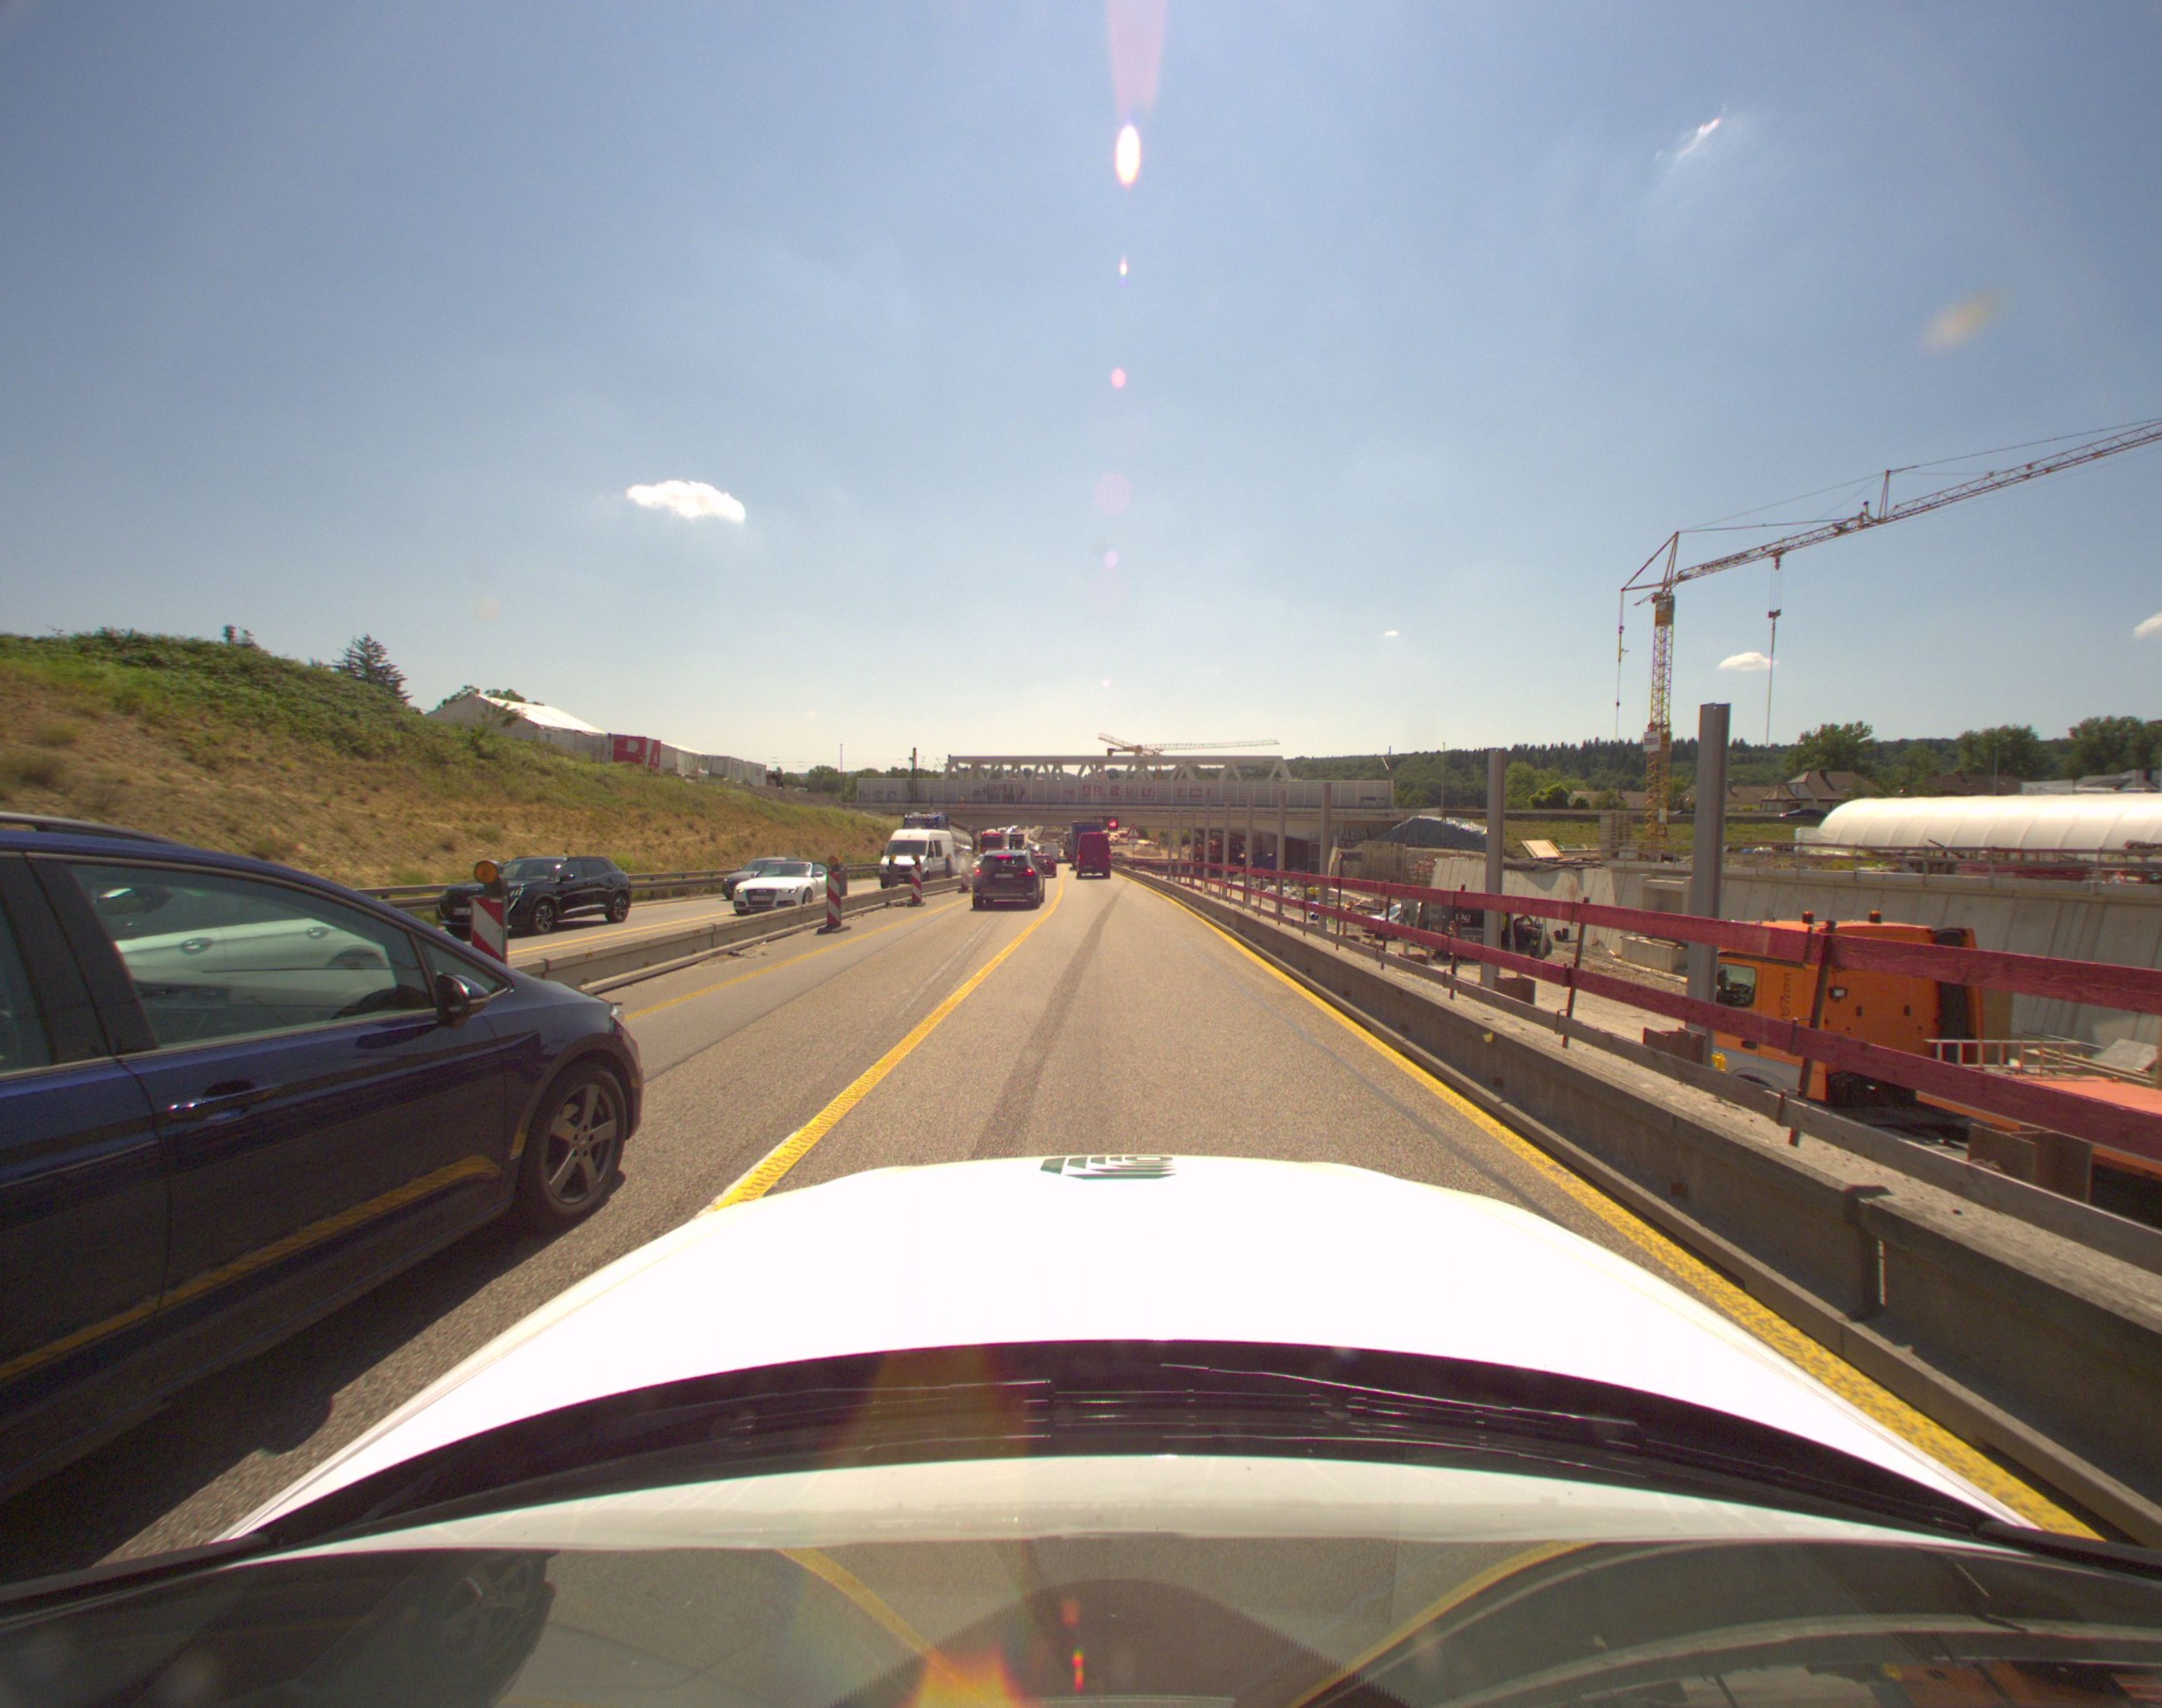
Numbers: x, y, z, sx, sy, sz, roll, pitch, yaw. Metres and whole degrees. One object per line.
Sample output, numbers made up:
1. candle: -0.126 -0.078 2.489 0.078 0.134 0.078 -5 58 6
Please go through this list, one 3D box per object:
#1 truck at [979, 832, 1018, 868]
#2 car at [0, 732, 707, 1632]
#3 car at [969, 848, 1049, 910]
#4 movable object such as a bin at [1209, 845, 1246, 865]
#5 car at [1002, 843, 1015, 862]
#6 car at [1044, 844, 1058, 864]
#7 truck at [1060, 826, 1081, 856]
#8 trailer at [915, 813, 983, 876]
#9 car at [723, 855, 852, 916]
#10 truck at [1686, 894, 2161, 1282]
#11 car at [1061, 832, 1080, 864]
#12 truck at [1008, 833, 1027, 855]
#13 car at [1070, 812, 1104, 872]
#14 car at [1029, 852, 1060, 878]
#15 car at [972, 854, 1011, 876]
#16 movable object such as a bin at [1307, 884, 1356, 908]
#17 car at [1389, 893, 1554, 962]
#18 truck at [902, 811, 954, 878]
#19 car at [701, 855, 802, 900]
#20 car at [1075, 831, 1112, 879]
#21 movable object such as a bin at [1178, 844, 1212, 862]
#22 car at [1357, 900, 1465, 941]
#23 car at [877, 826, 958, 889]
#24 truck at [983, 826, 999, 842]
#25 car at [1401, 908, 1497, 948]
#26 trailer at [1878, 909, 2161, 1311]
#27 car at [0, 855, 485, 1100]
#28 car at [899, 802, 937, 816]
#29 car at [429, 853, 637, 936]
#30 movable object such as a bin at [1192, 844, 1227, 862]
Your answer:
1. truck: -9.351 -0.505 93.912 2.824 3.852 12.917 0 0 2
2. car: -2.944 0.613 2.088 1.770 1.718 4.653 0 1 0
3. car: -1.991 0.639 23.792 1.873 1.618 4.500 -1 1 1
4. movable object such as a bin: 21.272 0.138 118.410 5.124 2.807 2.144 0 0 3
5. car: -10.484 -0.285 117.950 1.576 2.654 5.386 0 0 -2
6. car: -3.728 -0.032 101.637 1.771 2.441 4.203 -1 0 -2
7. truck: -2.111 -2.448 153.346 2.831 5.398 12.886 0 0 -6
8. trailer: -9.132 -0.657 57.738 2.338 4.015 11.459 0 0 3
9. car: -7.914 0.781 22.473 1.794 1.447 4.638 0 0 1
10. truck: 12.357 2.697 11.842 2.750 3.886 5.880 0 0 -1
11. car: -1.446 -0.843 113.412 2.444 4.161 6.855 -1 0 -2
12. truck: -11.321 -1.772 146.726 2.827 3.852 12.903 0 0 -2
13. car: 0.441 -1.090 73.690 2.614 5.032 10.388 -1 0 -2
14. car: -2.223 0.664 50.570 1.770 1.517 4.205 -1 1 -1
15. car: -6.024 0.698 55.379 1.809 1.383 4.589 0 0 4
16. movable object such as a bin: 18.092 3.033 58.842 3.067 1.563 1.563 0 0 34
17. car: 16.731 3.106 35.042 6.091 2.584 2.520 1 2 -12
18. truck: -9.495 -0.575 50.926 2.348 4.015 4.003 0 0 3
19. car: -11.456 0.771 28.631 1.758 1.447 4.129 0 0 1
20. car: 0.713 0.035 49.093 1.983 2.690 4.620 -1 0 -2
21. movable object such as a bin: 18.136 -0.114 129.866 5.124 2.807 2.144 0 0 3
22. car: 16.964 3.386 41.984 4.713 1.773 2.000 2 2 -1
23. car: -7.309 0.124 37.213 1.985 2.606 7.015 0 0 3
24. truck: -23.048 -5.088 208.248 2.837 3.852 12.857 0 0 -12
25. car: 17.500 3.500 38.785 3.754 1.668 1.764 1 1 -6
26. trailer: 12.435 2.755 4.772 2.750 3.886 13.045 0 0 0
27. car: -7.682 0.769 6.711 1.956 1.464 4.938 0 0 -1
28. car: -22.128 -6.137 110.560 4.524 1.783 1.967 0 0 11
29. car: -11.366 0.763 17.265 1.688 1.531 4.000 0 0 0
30. movable object such as a bin: 19.728 -0.169 125.261 5.124 2.807 2.144 0 0 3
